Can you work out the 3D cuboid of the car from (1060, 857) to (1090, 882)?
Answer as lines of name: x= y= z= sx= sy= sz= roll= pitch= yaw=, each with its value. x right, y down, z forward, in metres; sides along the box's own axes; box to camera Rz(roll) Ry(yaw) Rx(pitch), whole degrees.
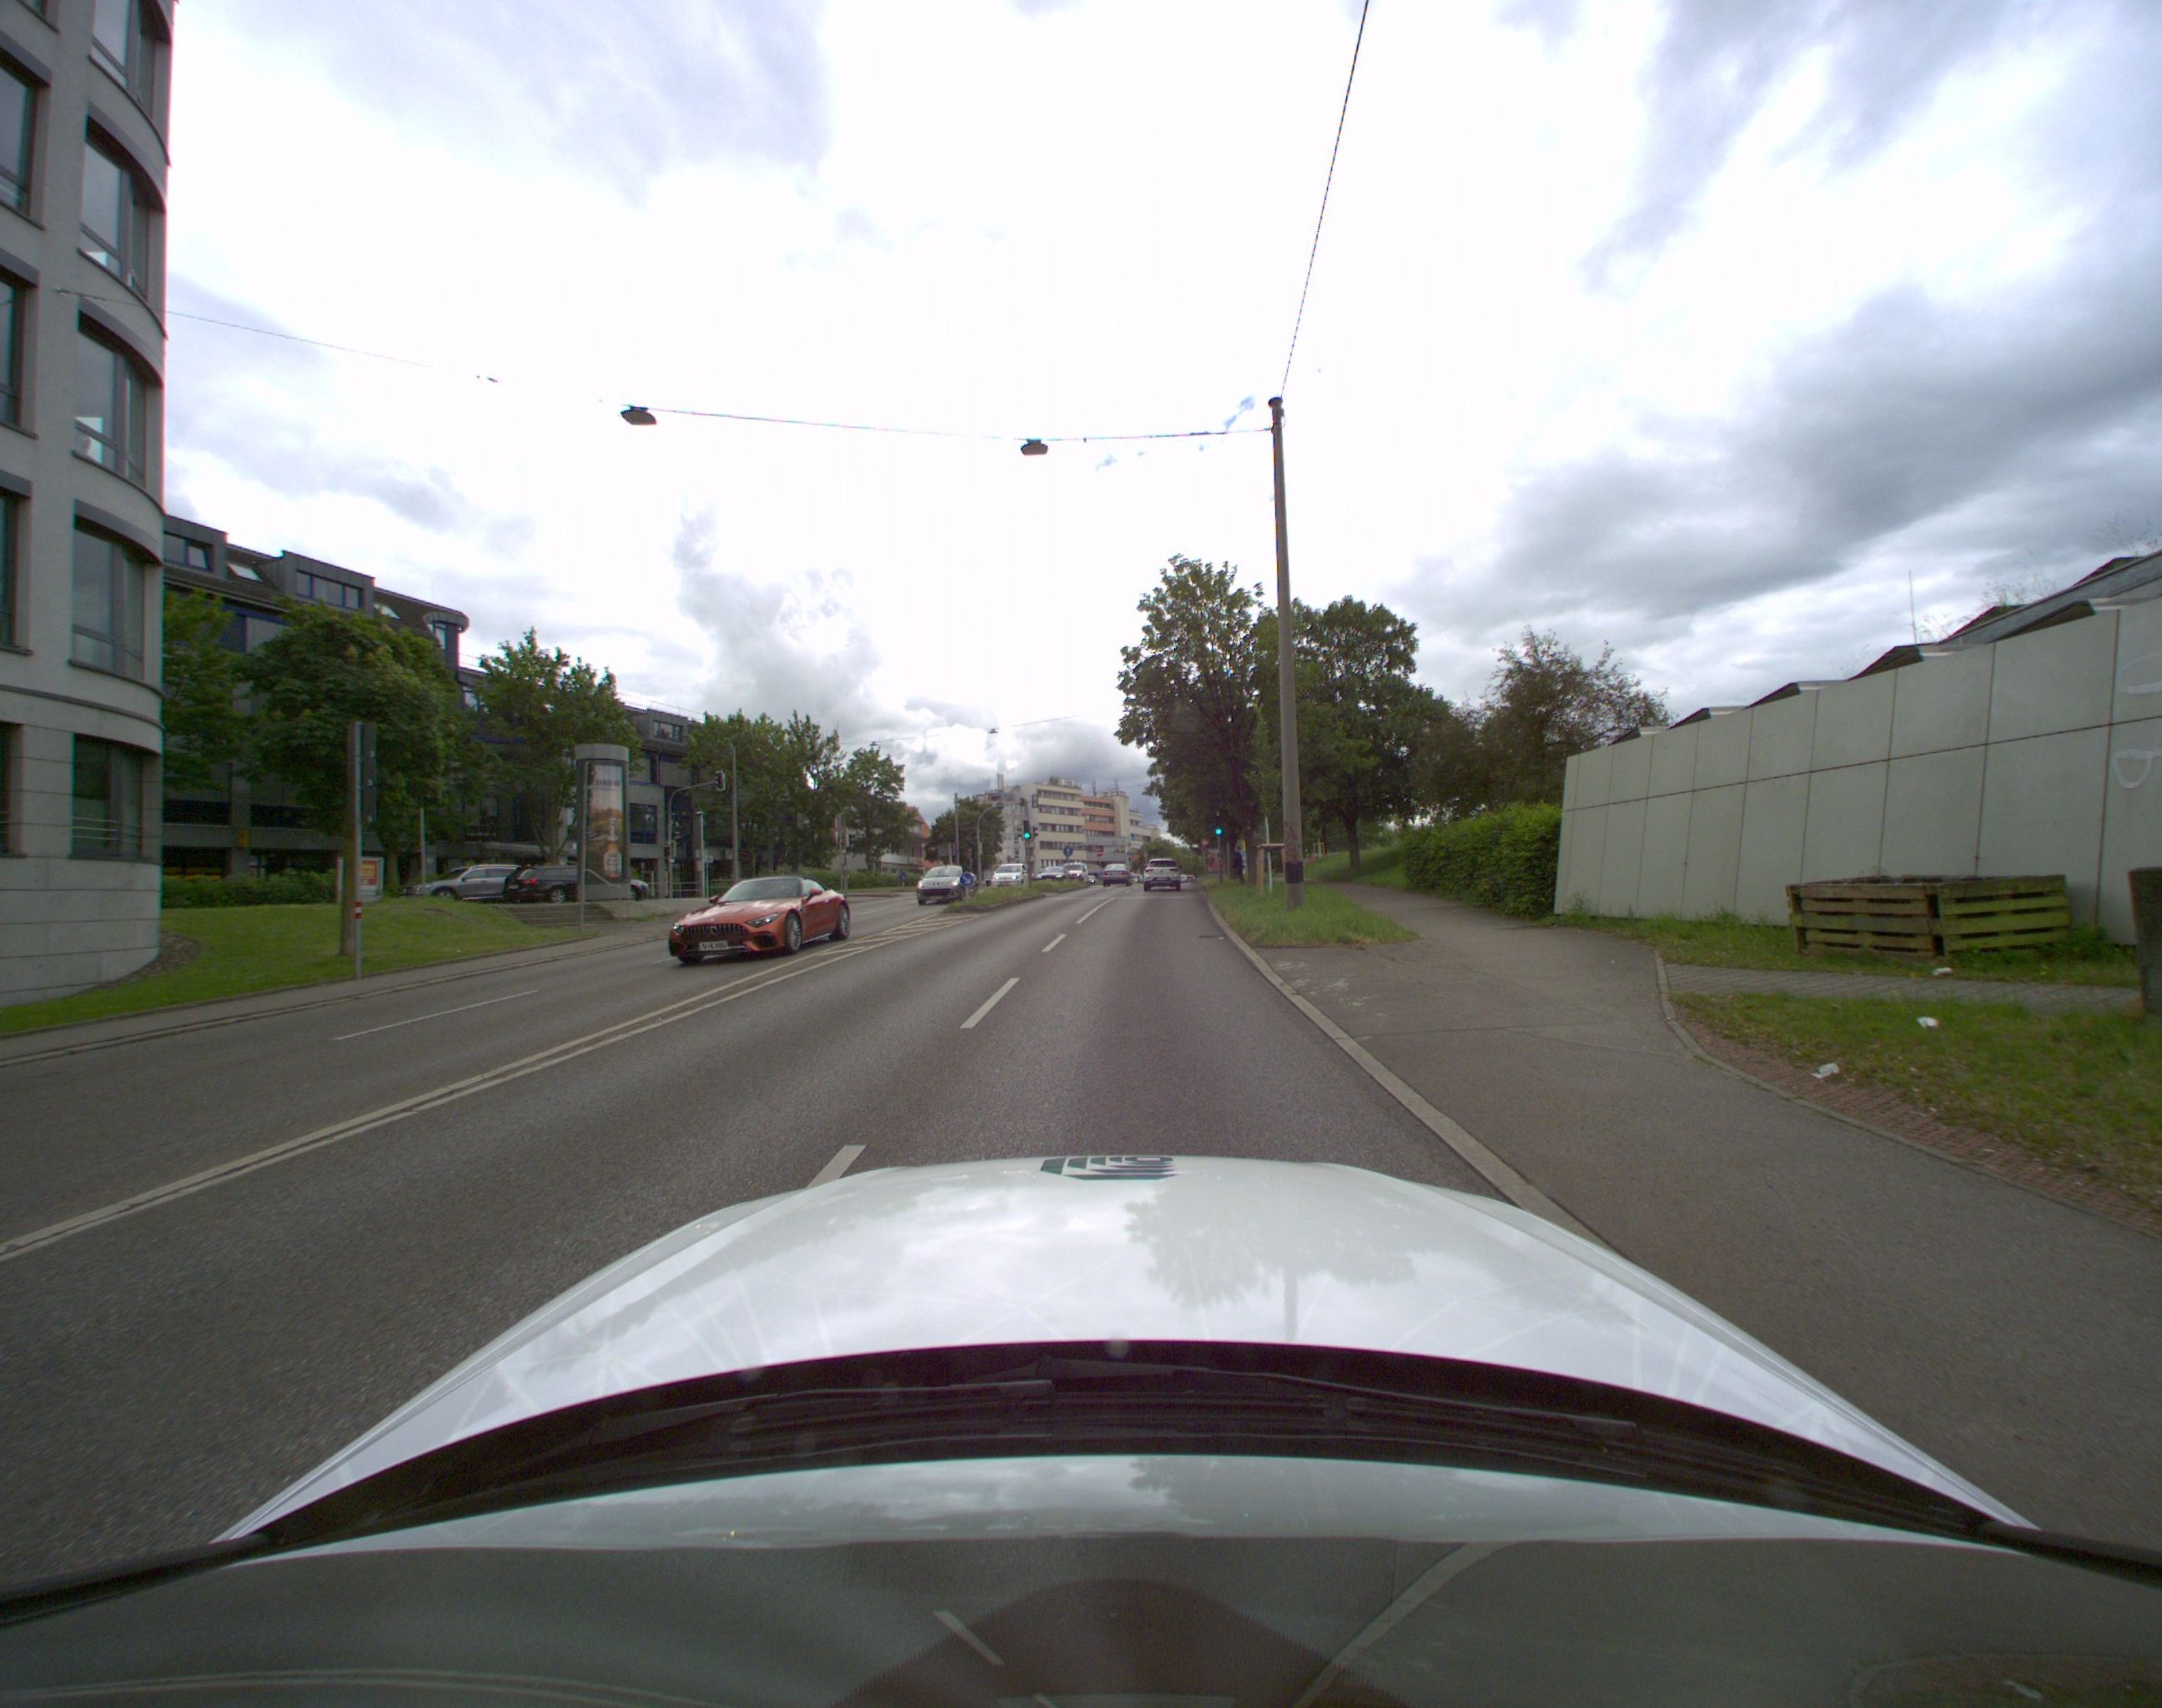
car: x=-0.488 y=1.247 z=69.249 sx=1.825 sy=2.002 sz=4.868 roll=-1 pitch=0 yaw=8

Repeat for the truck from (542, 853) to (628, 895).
truck: x=-30.232 y=1.178 z=49.714 sx=1.975 sy=2.387 sz=4.024 roll=-1 pitch=0 yaw=26

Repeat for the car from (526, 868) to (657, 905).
car: x=-20.469 y=1.314 z=34.285 sx=1.760 sy=1.463 sz=4.466 roll=-1 pitch=-1 yaw=26

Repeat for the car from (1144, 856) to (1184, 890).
car: x=4.137 y=0.888 z=40.371 sx=1.689 sy=1.548 sz=3.747 roll=1 pitch=1 yaw=10

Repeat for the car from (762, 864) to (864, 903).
car: x=-12.066 y=1.304 z=36.852 sx=1.759 sy=1.544 sz=4.024 roll=-3 pitch=-1 yaw=44

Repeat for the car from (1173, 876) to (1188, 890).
car: x=13.423 y=3.871 z=109.831 sx=1.762 sy=1.570 sz=4.290 roll=-2 pitch=0 yaw=5

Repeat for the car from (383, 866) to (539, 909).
car: x=-24.350 y=1.277 z=32.197 sx=1.655 sy=1.463 sz=4.600 roll=-1 pitch=0 yaw=30

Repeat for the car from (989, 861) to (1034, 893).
car: x=-3.718 y=1.235 z=44.196 sx=1.770 sy=1.565 sz=4.003 roll=-2 pitch=0 yaw=3

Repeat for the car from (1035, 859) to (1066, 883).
car: x=-2.131 y=1.186 z=58.292 sx=1.770 sy=1.481 sz=4.485 roll=-3 pitch=0 yaw=3

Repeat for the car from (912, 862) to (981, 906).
car: x=-5.158 y=1.115 z=31.675 sx=1.770 sy=1.481 sz=3.984 roll=-2 pitch=0 yaw=3

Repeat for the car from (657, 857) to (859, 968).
car: x=-5.669 y=0.927 z=14.960 sx=1.764 sy=1.570 sz=4.286 roll=-5 pitch=0 yaw=2

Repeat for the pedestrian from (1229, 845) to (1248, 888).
pedestrian: x=6.802 y=0.534 z=35.229 sx=0.640 sy=1.856 sz=0.673 roll=-2 pitch=-1 yaw=1

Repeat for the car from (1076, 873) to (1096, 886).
car: x=0.614 y=3.131 z=100.791 sx=1.851 sy=1.428 sz=4.008 roll=-2 pitch=-1 yaw=8

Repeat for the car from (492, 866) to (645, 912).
car: x=-18.621 y=1.212 z=29.827 sx=1.760 sy=1.463 sz=4.466 roll=-1 pitch=0 yaw=26

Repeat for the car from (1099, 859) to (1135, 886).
car: x=2.307 y=1.123 z=51.314 sx=1.689 sy=1.516 sz=3.747 roll=-2 pitch=1 yaw=10
